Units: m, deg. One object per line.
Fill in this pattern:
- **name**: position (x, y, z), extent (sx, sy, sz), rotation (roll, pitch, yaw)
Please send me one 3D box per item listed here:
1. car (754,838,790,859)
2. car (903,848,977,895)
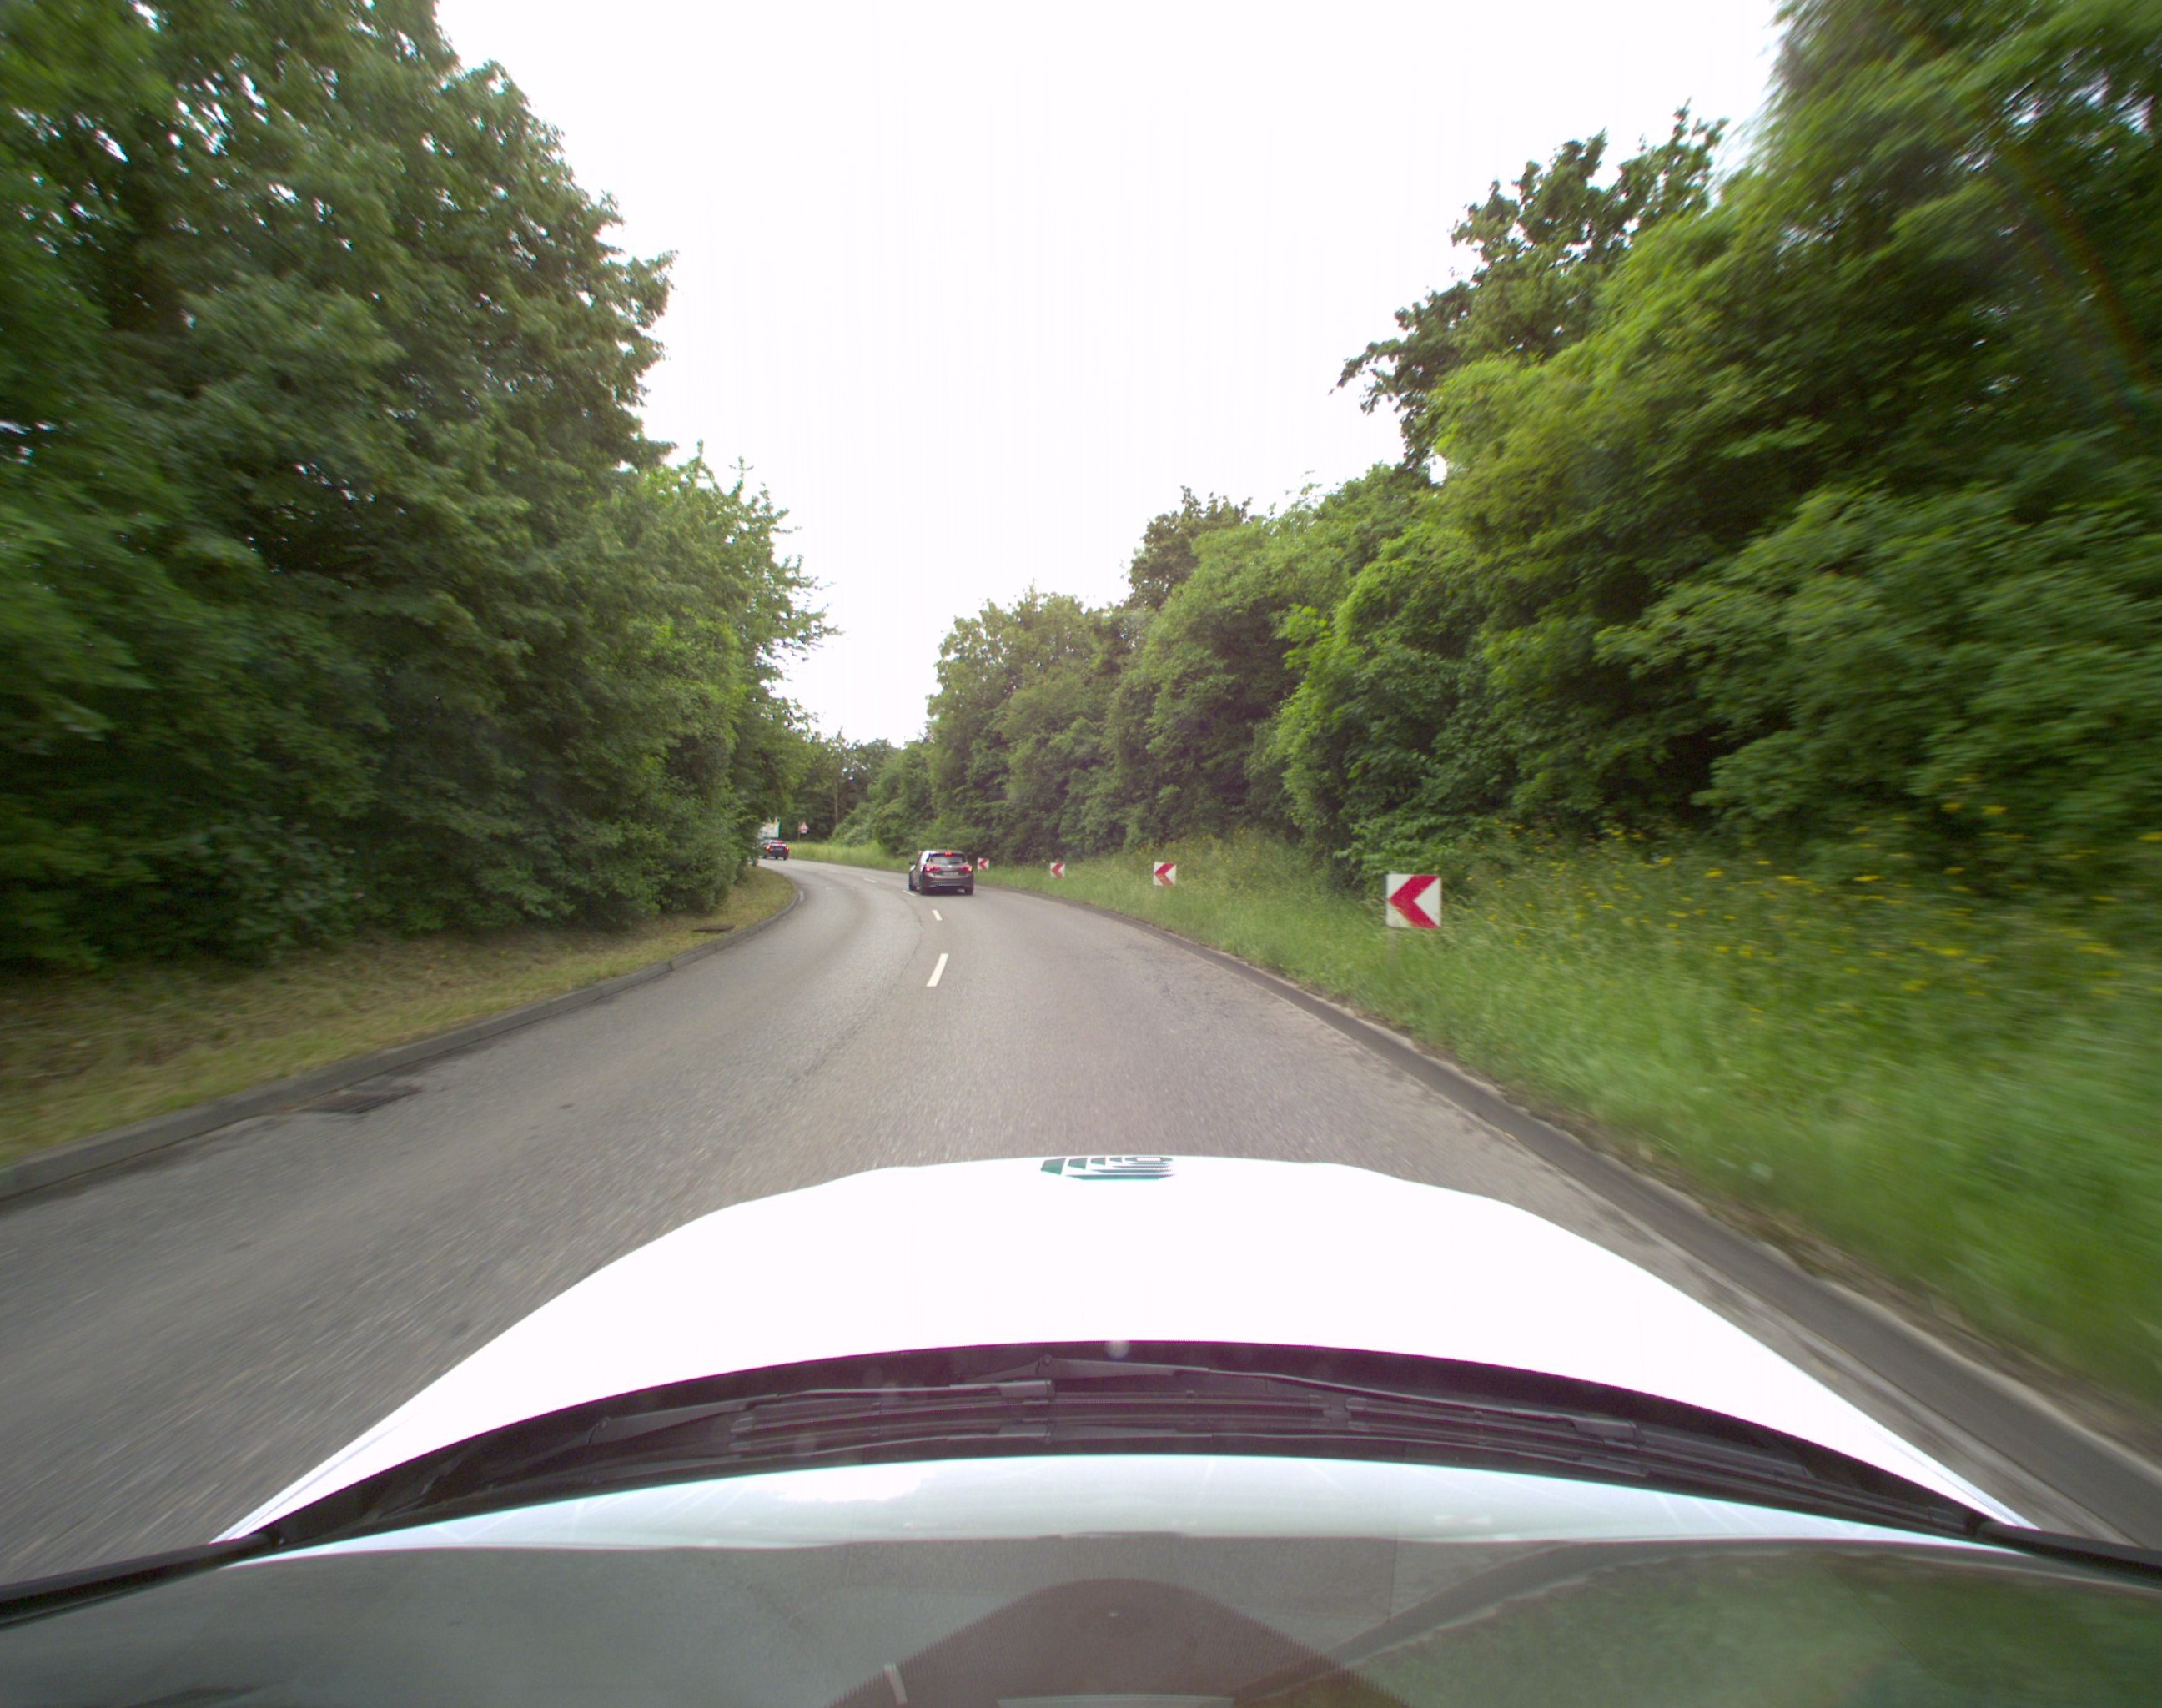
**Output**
- **car**: position (-23.788, -0.433, 62.621), extent (1.852, 1.386, 3.961), rotation (1, 3, -32)
- **car**: position (-5.021, 0.557, 28.573), extent (1.846, 1.483, 3.972), rotation (0, 1, -21)
